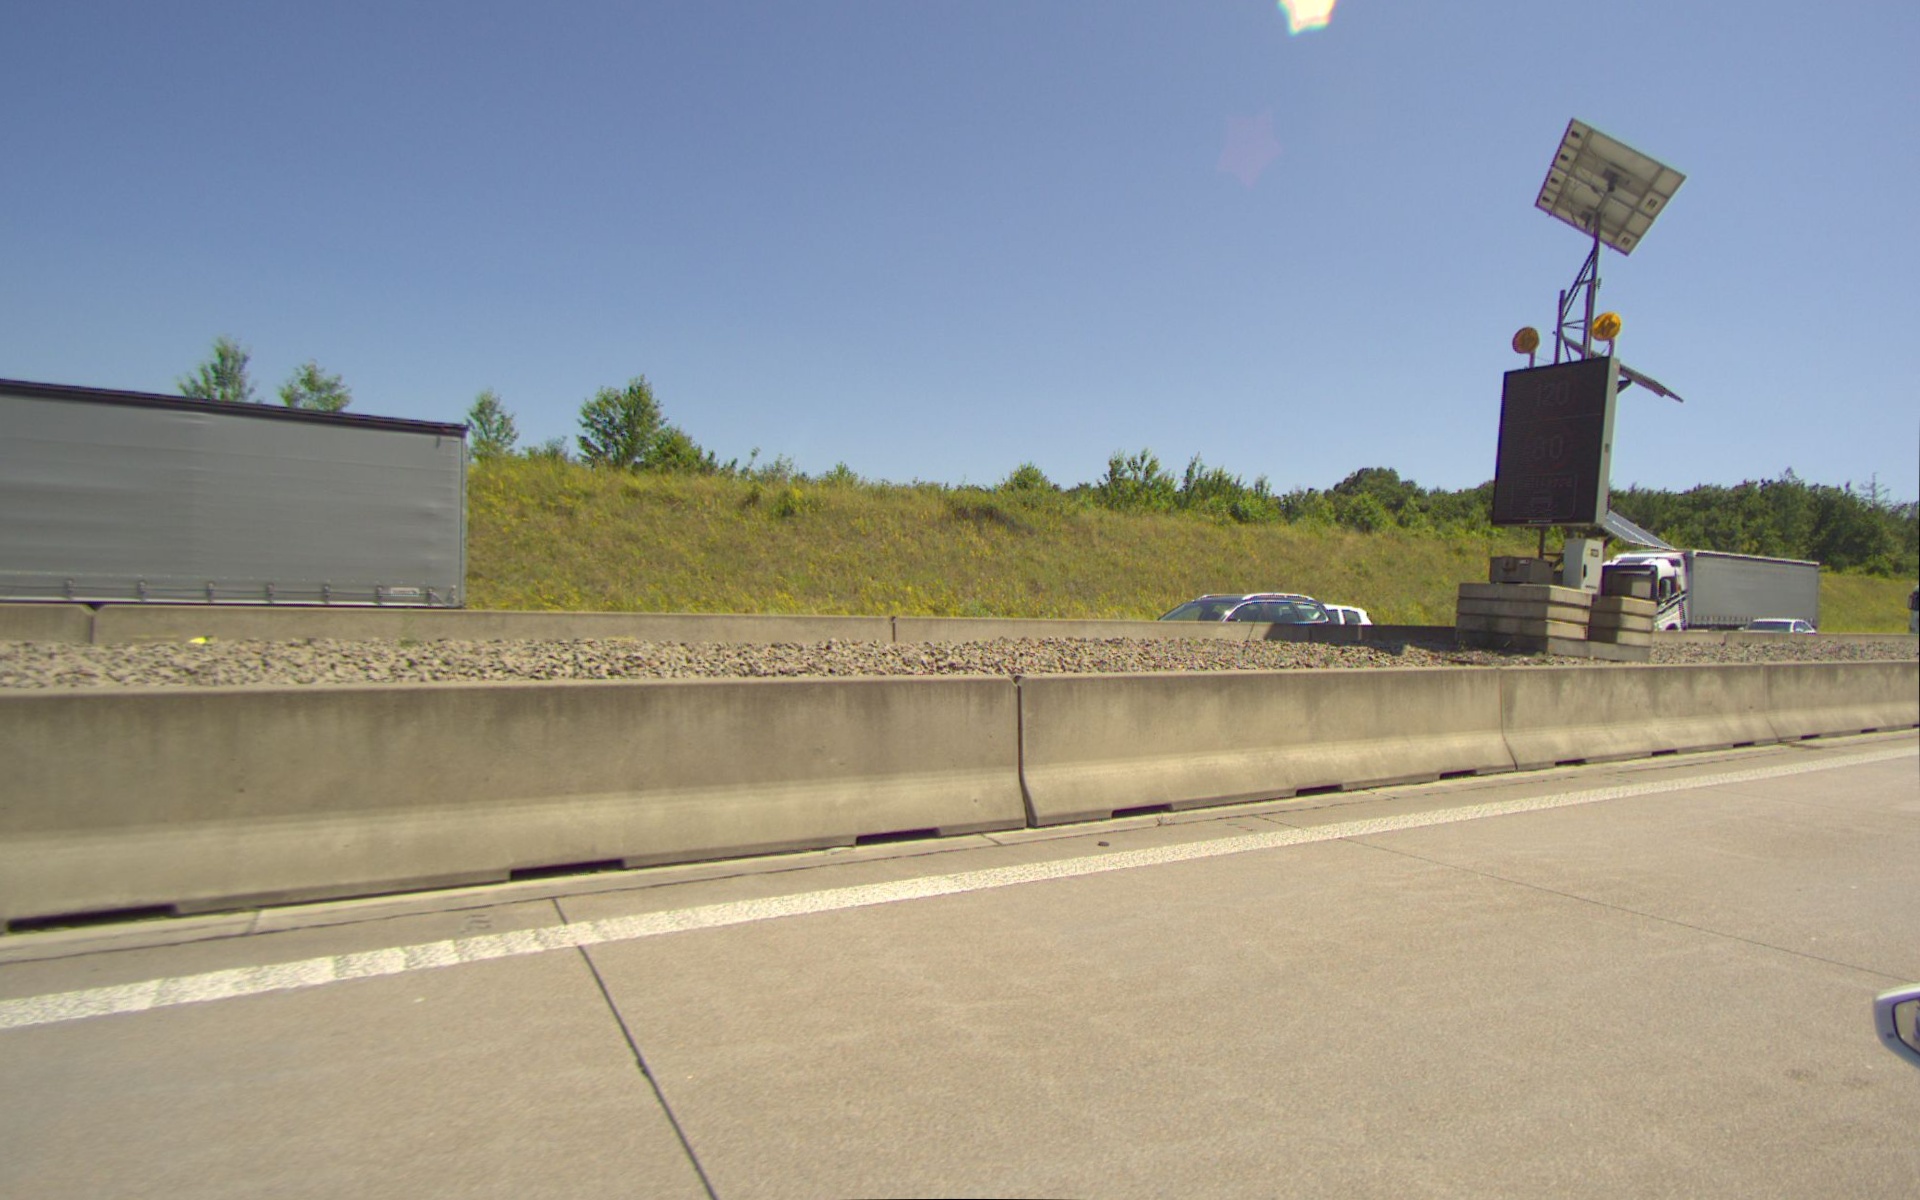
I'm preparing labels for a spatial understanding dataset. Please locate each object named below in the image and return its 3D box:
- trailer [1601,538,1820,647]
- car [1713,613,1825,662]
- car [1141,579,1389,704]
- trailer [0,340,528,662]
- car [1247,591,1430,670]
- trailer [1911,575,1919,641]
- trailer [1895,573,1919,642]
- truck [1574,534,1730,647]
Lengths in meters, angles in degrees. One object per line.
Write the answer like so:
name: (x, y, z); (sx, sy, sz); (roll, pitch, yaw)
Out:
trailer: (33.258, -0.177, 44.123); (14.237, 4.224, 2.915); (2, 2, -34)
car: (29.928, 1.367, 37.160); (3.954, 1.706, 1.983); (2, -1, -31)
car: (5.330, 0.697, 17.469); (3.954, 1.940, 1.983); (2, -1, -31)
trailer: (-13.972, -1.382, 14.082); (14.220, 4.224, 2.919); (2, 2, -30)
car: (8.884, 0.701, 23.532); (3.954, 1.706, 1.983); (2, -1, -31)
trailer: (67.335, 0.740, 66.887); (13.054, 4.224, 2.915); (2, 2, -34)
trailer: (61.855, 0.566, 63.130); (6.820, 4.224, 2.915); (2, 2, -34)
truck: (27.985, -0.354, 40.561); (6.164, 4.224, 2.915); (2, 2, -34)
